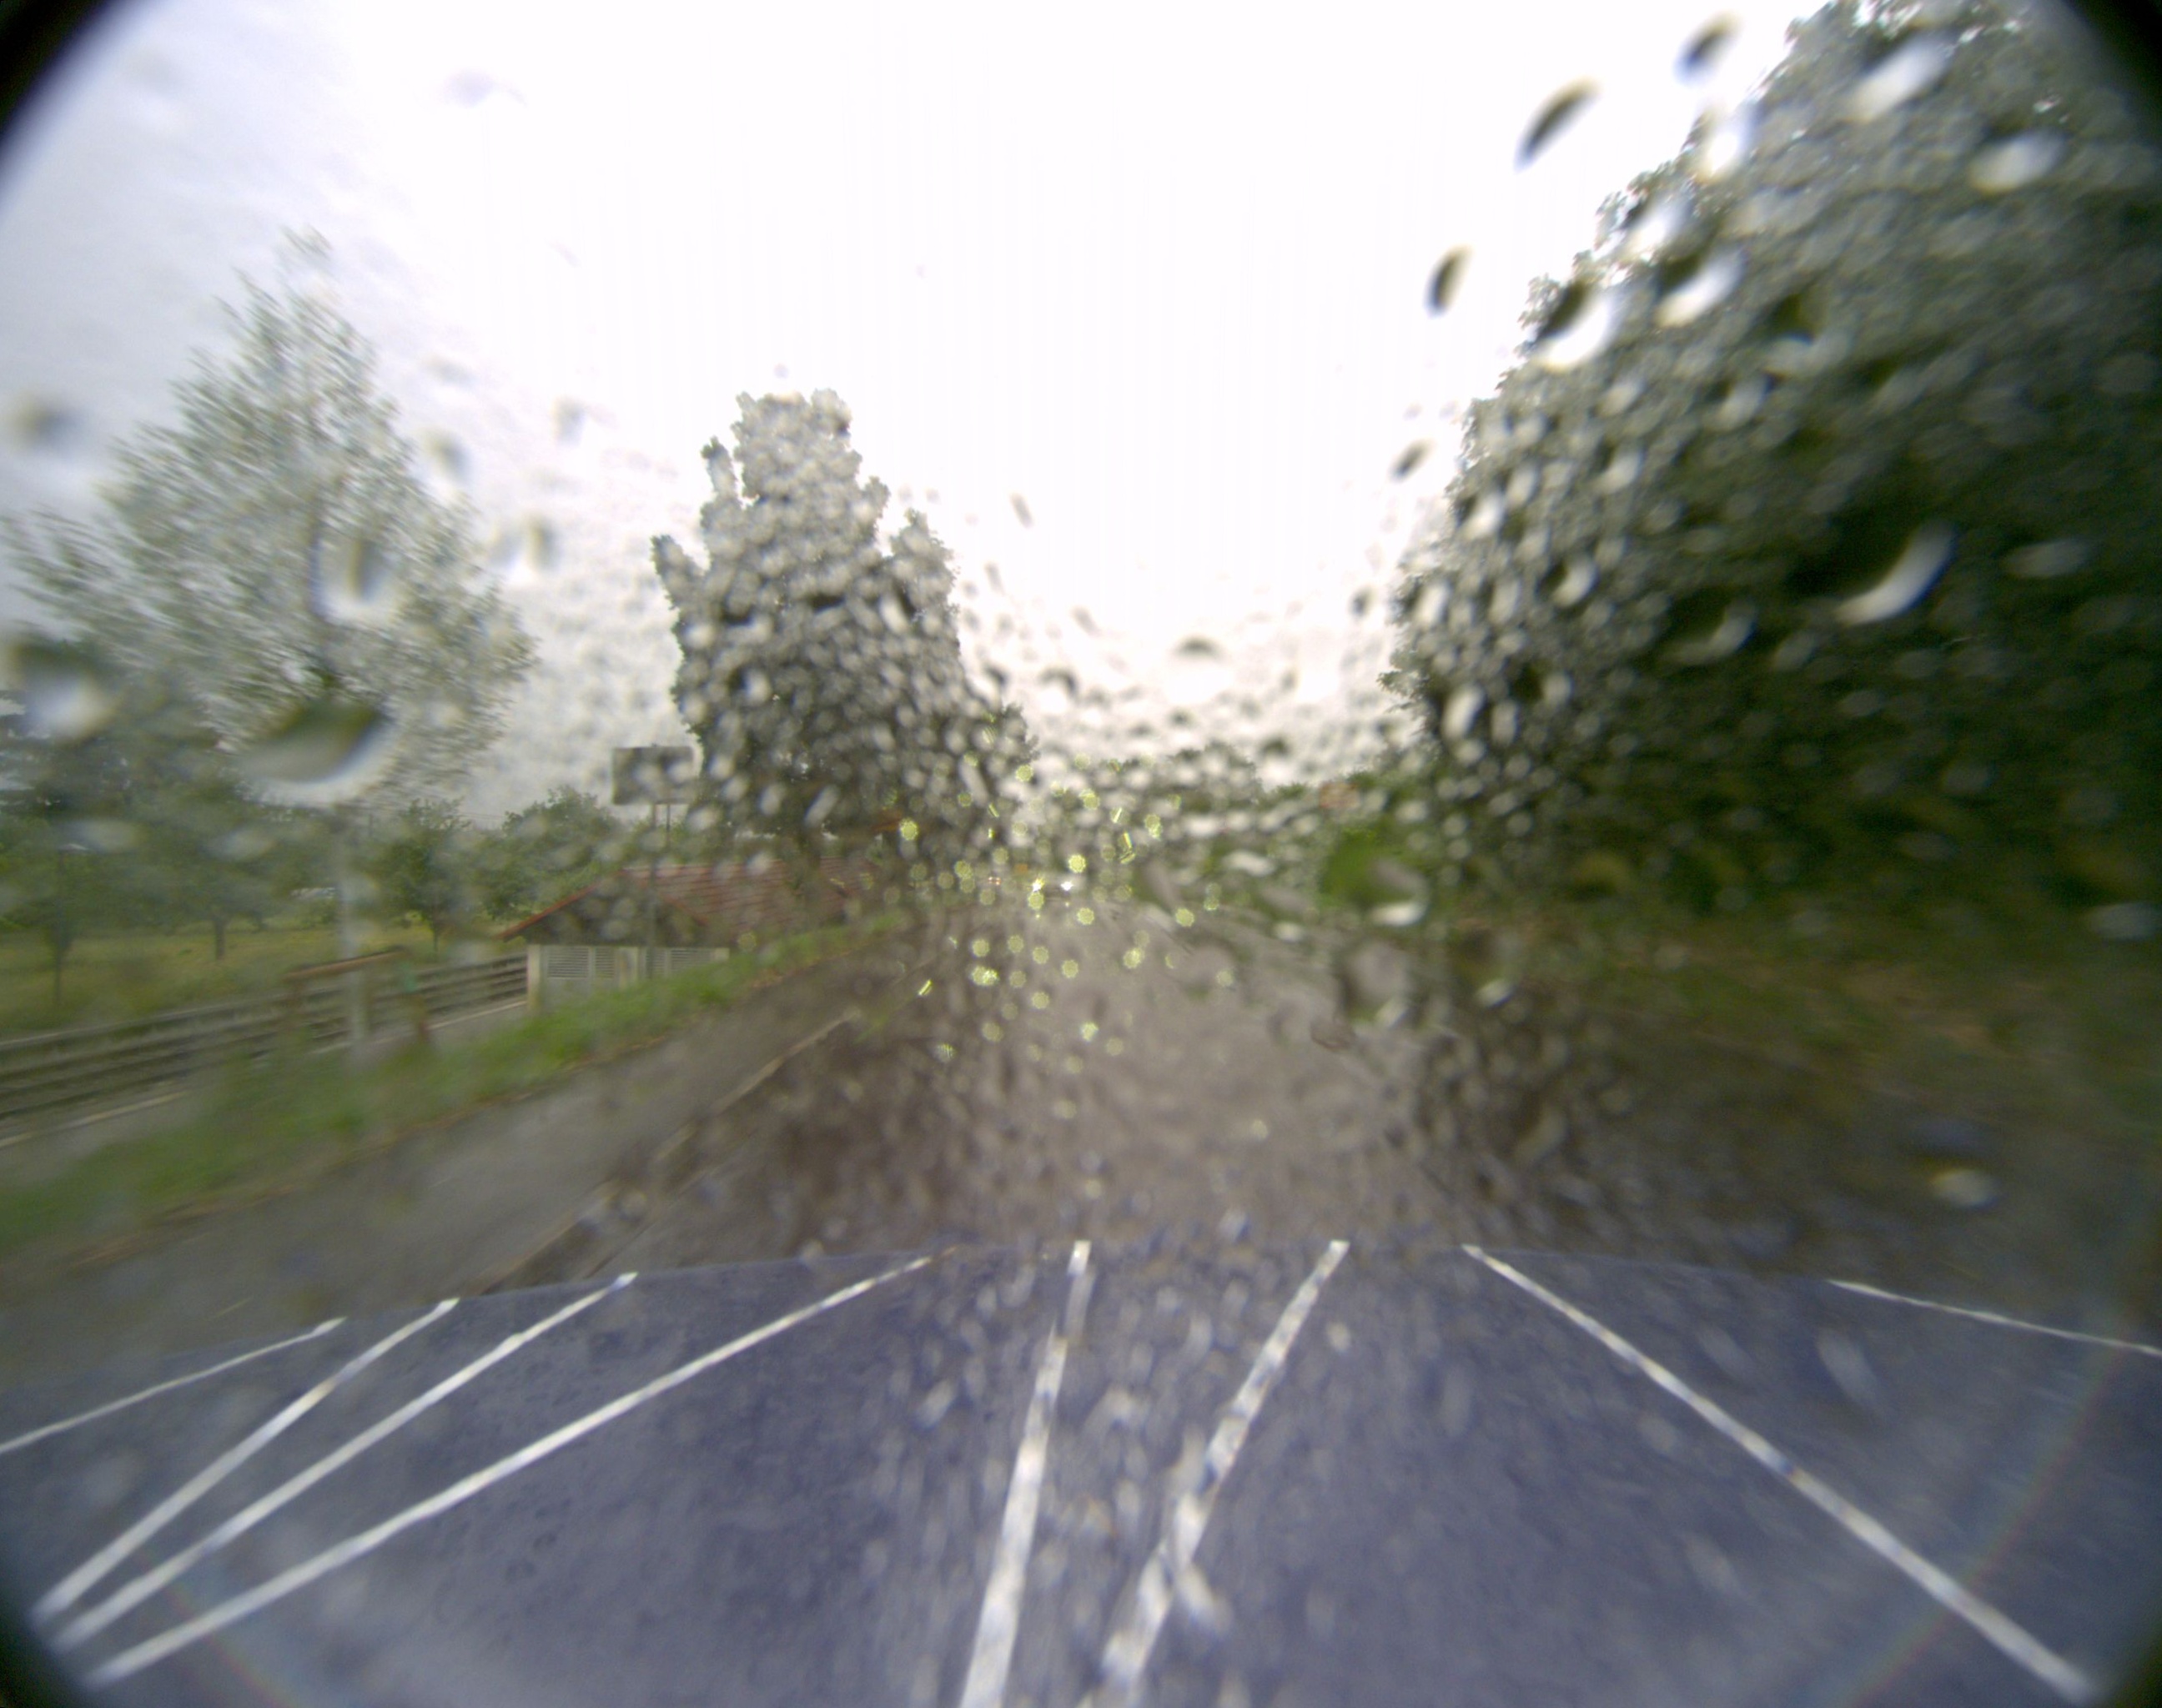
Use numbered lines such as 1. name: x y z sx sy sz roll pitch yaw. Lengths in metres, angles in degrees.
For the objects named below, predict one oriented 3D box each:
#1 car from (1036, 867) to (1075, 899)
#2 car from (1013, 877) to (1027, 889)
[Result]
1. car: -1.296 1.402 37.701 1.765 1.477 3.790 1 -1 -4
2. car: -10.842 5.151 135.342 2.000 2.002 3.996 0 0 -11
